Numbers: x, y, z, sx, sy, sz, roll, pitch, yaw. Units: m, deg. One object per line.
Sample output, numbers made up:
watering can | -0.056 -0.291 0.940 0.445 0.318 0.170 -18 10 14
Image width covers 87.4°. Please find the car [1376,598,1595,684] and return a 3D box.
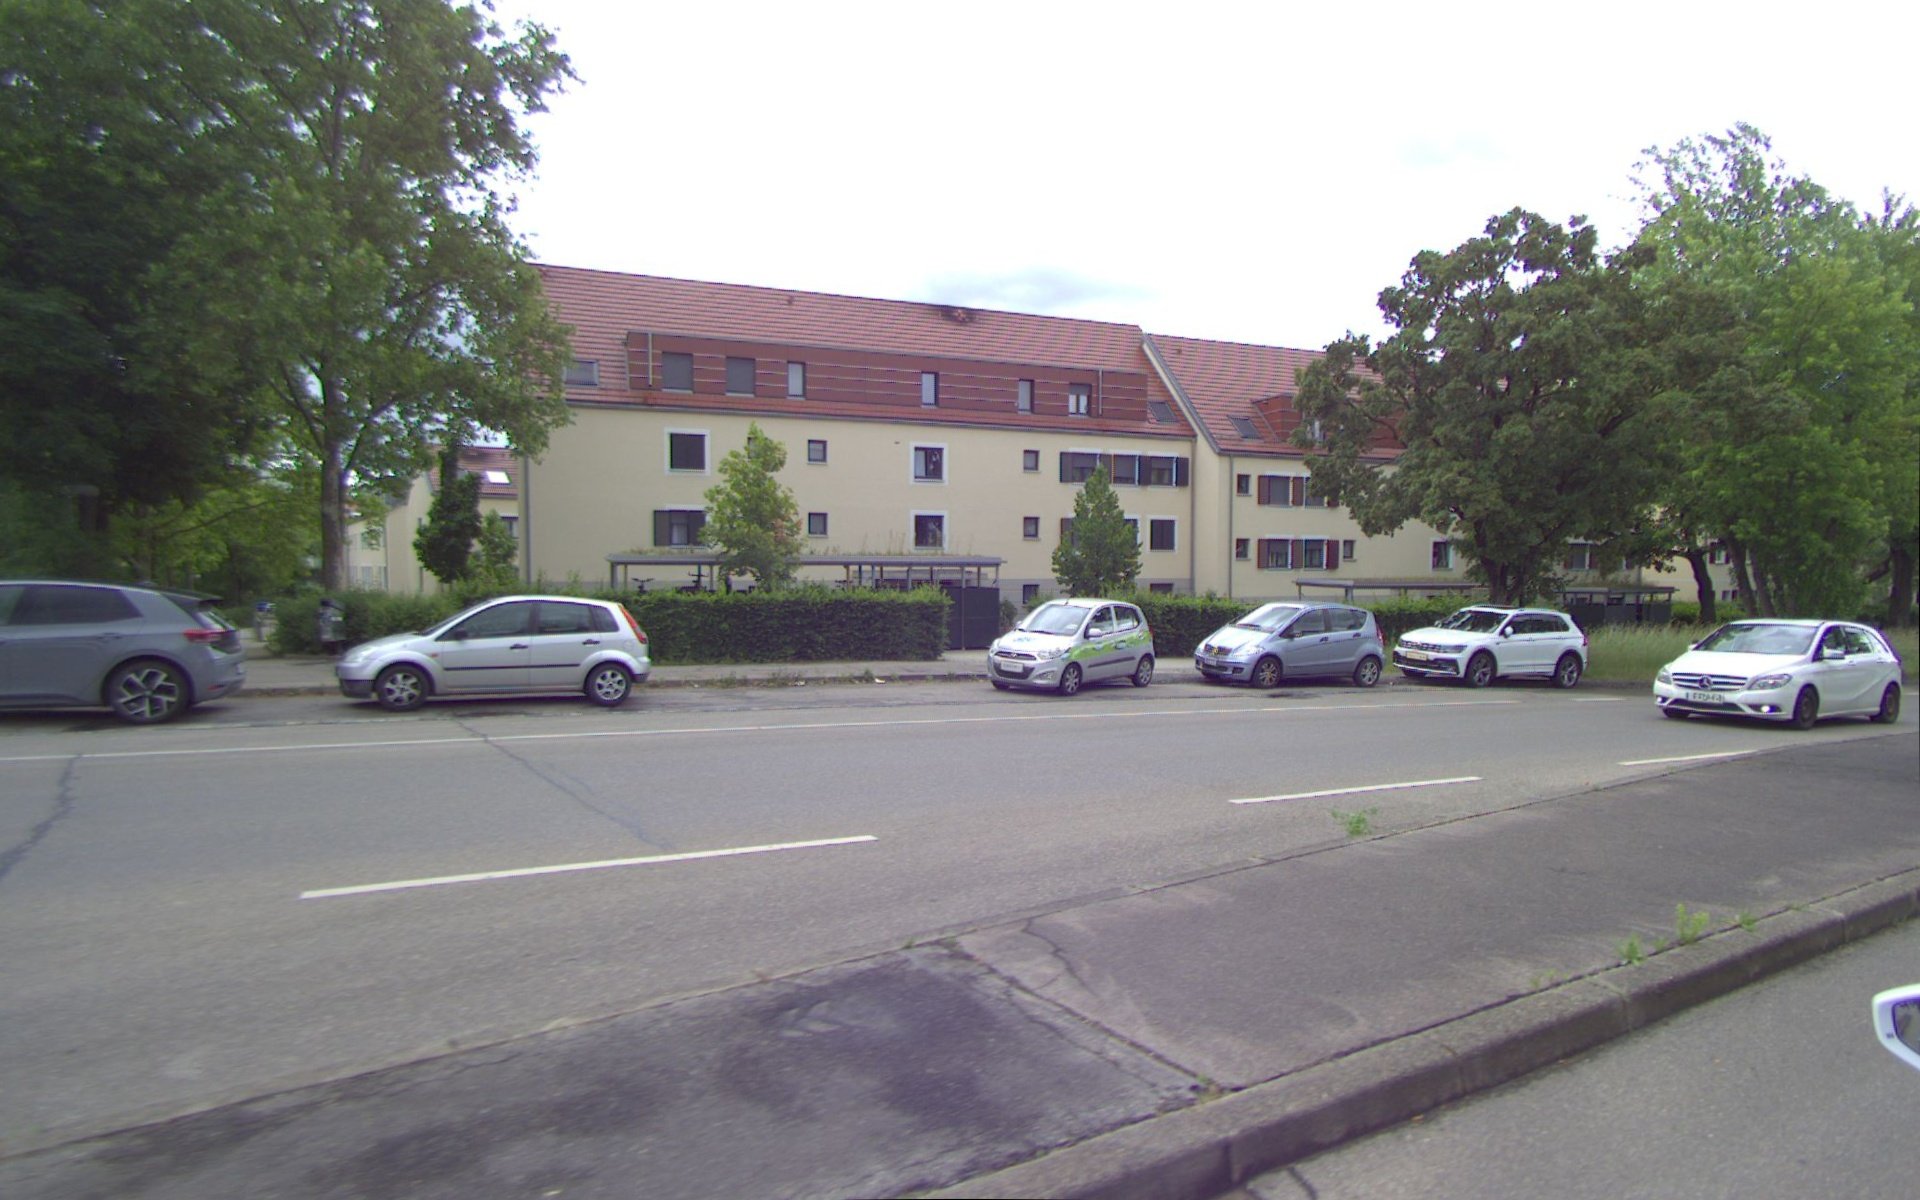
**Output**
car | 11.370 0.867 21.739 4.328 1.689 1.870 2 1 -23

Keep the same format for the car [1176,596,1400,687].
car | 6.478 0.796 19.875 3.943 1.618 1.870 1 1 -23

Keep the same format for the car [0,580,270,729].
car | -10.318 0.557 11.365 3.952 1.527 1.867 1 1 -29

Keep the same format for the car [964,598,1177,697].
car | 2.068 0.769 17.969 1.853 1.527 3.980 1 0 41

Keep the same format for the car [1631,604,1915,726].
car | 12.457 0.958 15.360 4.286 1.591 1.867 2 0 -29

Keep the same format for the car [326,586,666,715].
car | -6.226 0.621 13.699 3.951 1.527 1.867 1 0 -29
